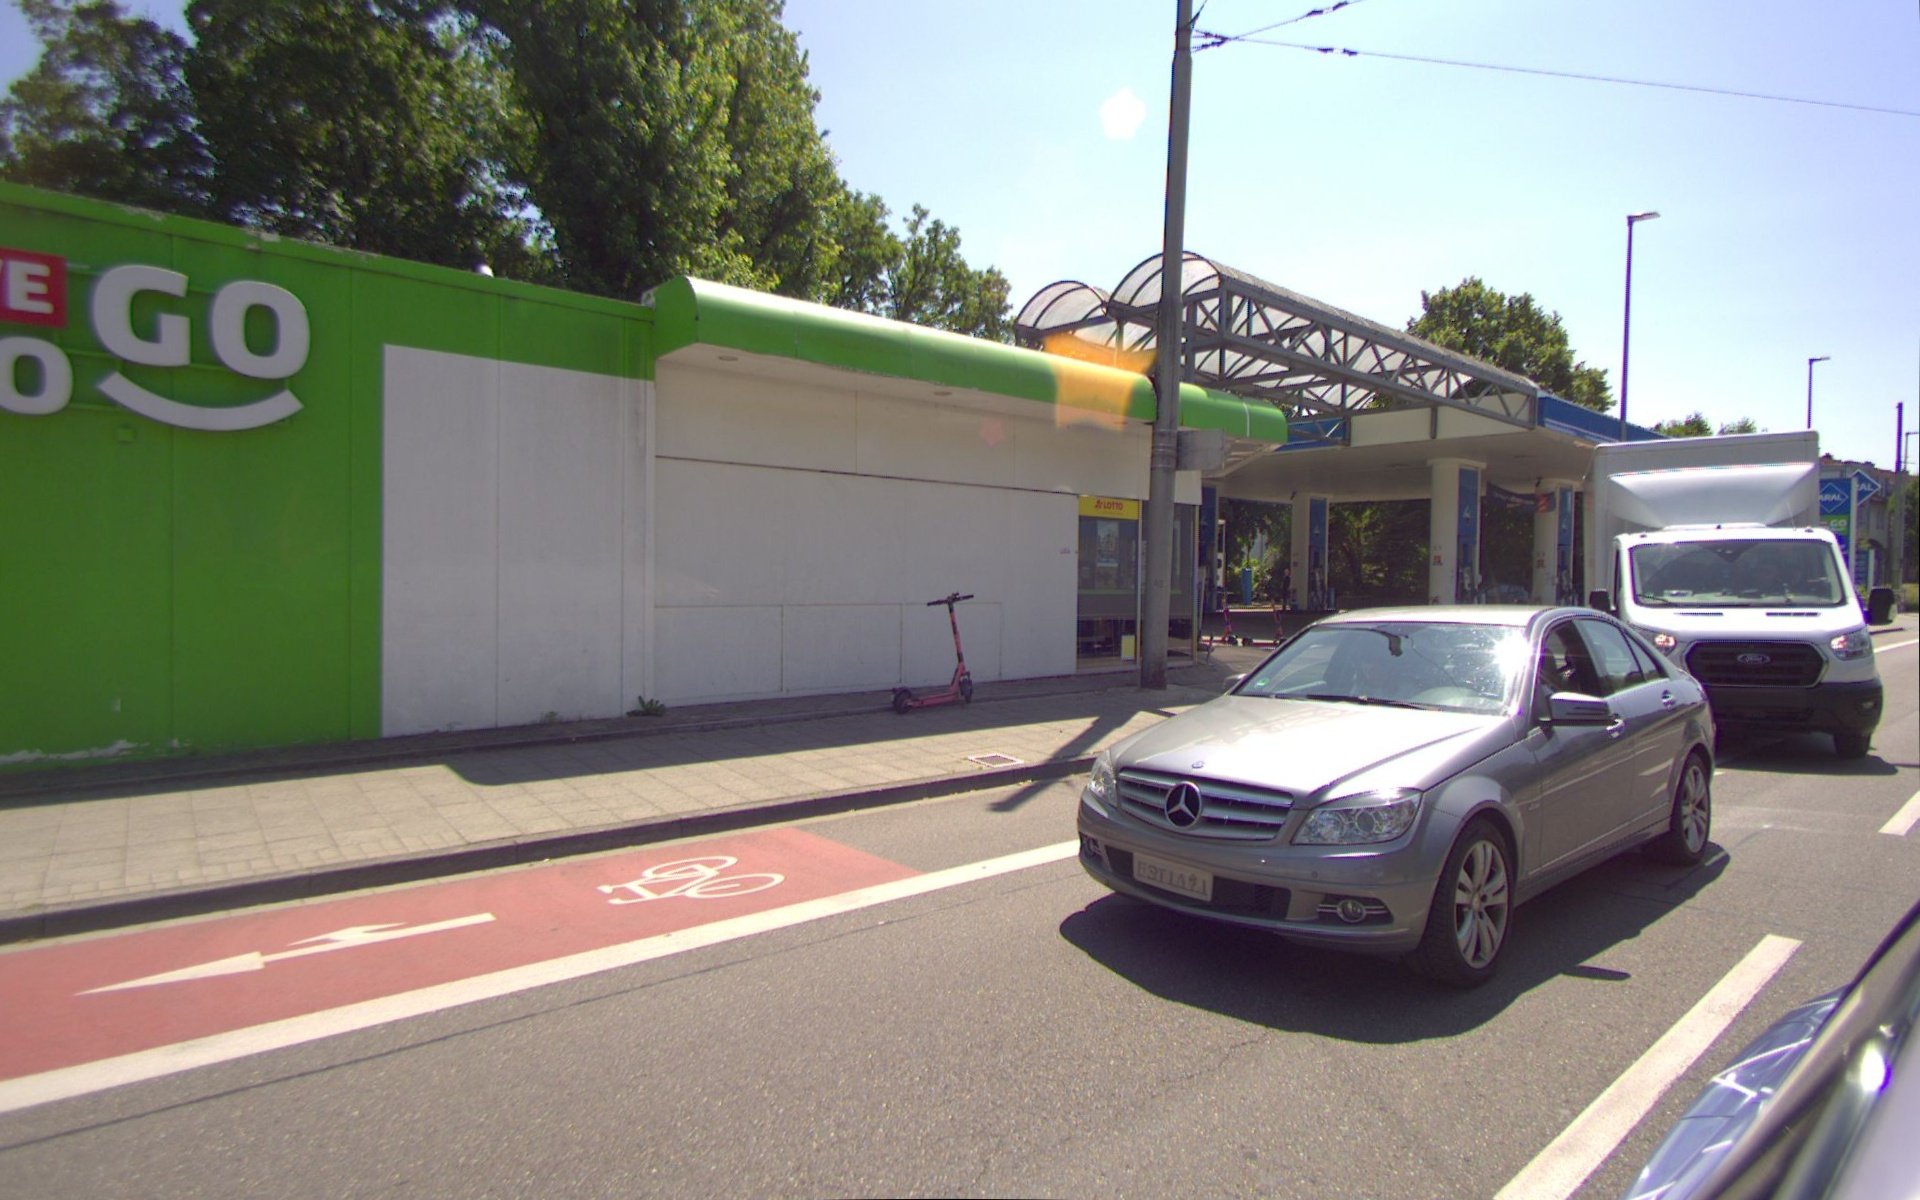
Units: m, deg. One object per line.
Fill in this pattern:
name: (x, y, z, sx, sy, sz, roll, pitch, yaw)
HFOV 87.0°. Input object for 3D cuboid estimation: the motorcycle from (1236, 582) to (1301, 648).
motorcycle: (6.144, 0.288, 20.194, 0.357, 1.225, 1.156, 1, 2, -42)

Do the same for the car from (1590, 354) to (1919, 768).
car: (9.184, -0.367, 12.461, 2.213, 3.377, 8.541, -1, 0, 31)

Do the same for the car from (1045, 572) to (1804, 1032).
car: (2.942, 0.656, 5.614, 5.206, 1.492, 1.716, 0, 0, -39)

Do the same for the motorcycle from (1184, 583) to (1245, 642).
motorcycle: (5.298, 0.250, 21.107, 0.389, 1.127, 1.156, 1, 2, -42)

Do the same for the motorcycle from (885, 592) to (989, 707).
motorcycle: (-0.231, 0.495, 10.570, 1.098, 1.118, 0.253, -1, 8, -40)
